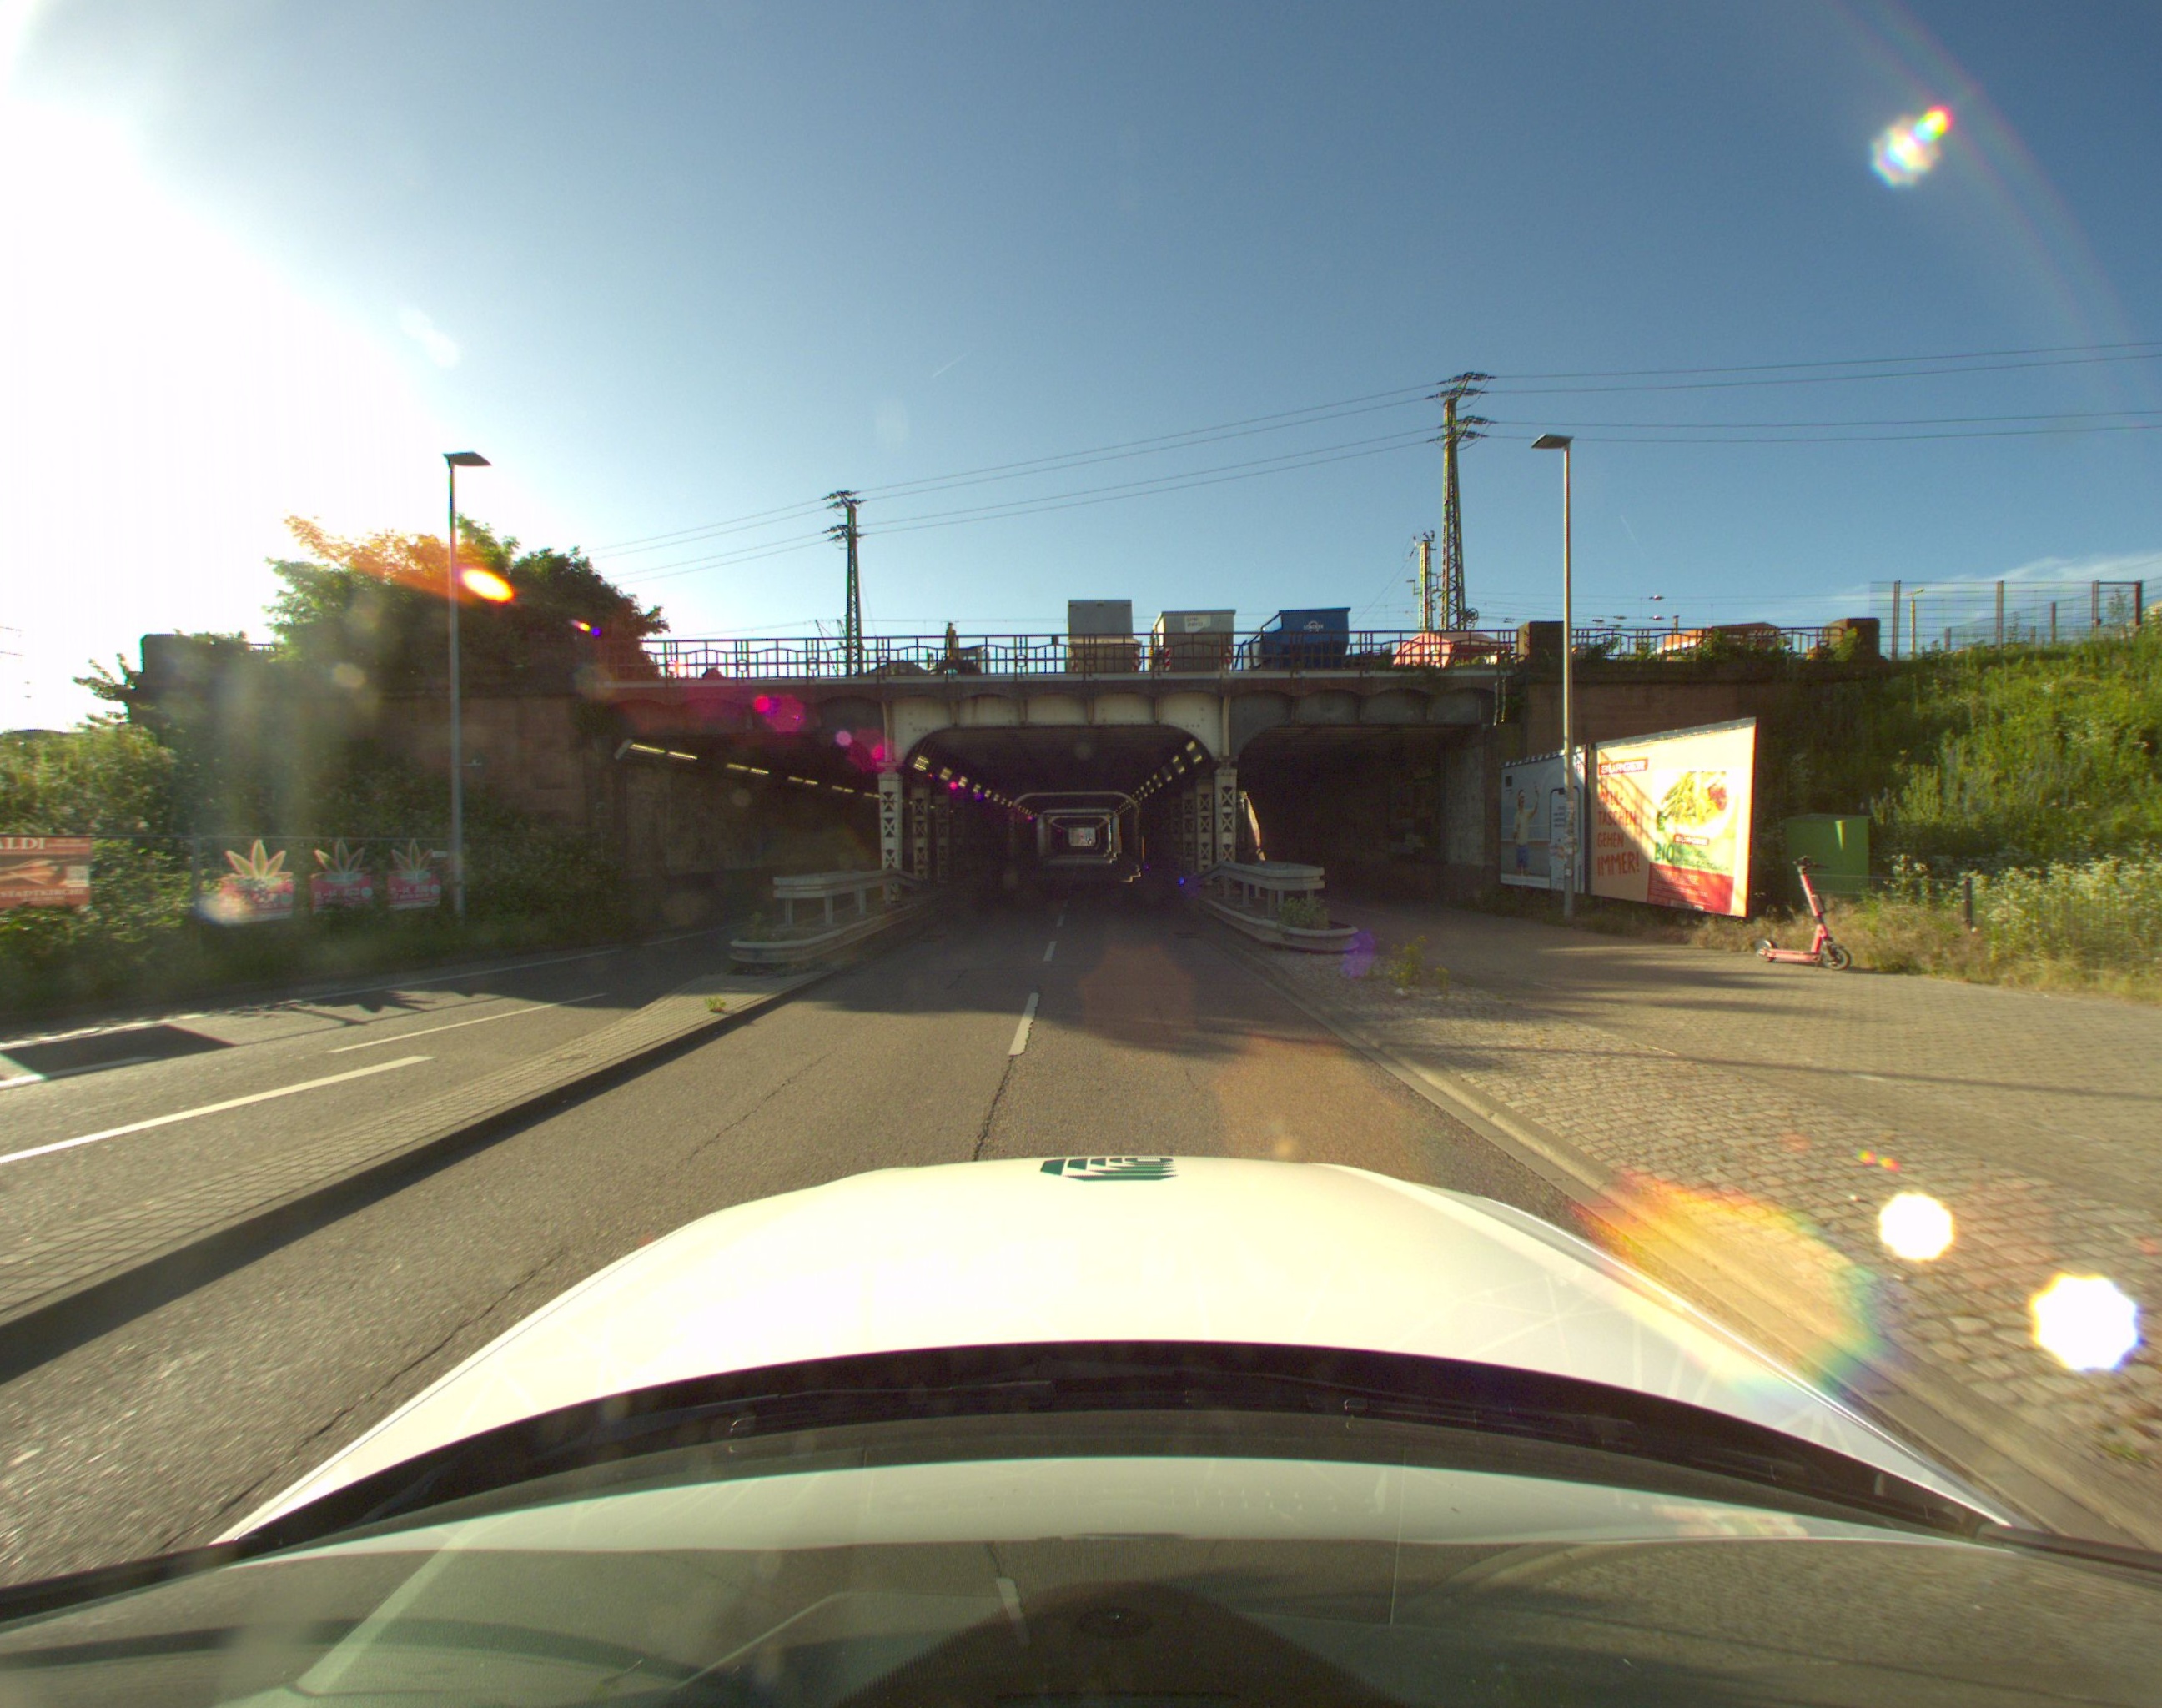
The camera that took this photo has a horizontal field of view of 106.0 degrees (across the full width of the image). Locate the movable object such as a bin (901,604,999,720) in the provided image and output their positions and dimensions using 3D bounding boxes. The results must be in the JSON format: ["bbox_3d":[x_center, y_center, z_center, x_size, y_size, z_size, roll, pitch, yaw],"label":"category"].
[{"bbox_3d":[-3.717,-5.483,23.989,1.986,2.226,4.832,0,0,1],"label":"movable object such as a bin"}]

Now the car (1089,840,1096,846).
[{"bbox_3d":[3.346,-3.245,242.660,1.987,1.784,4.000,-1,1,0],"label":"car"}]

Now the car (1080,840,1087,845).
[{"bbox_3d":[0.741,-3.615,258.084,1.987,1.784,4.000,-1,1,0],"label":"car"}]

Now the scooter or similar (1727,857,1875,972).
[{"bbox_3d":[8.059,0.636,9.187,0.535,1.197,1.291,0,0,1],"label":"scooter or similar"}]
